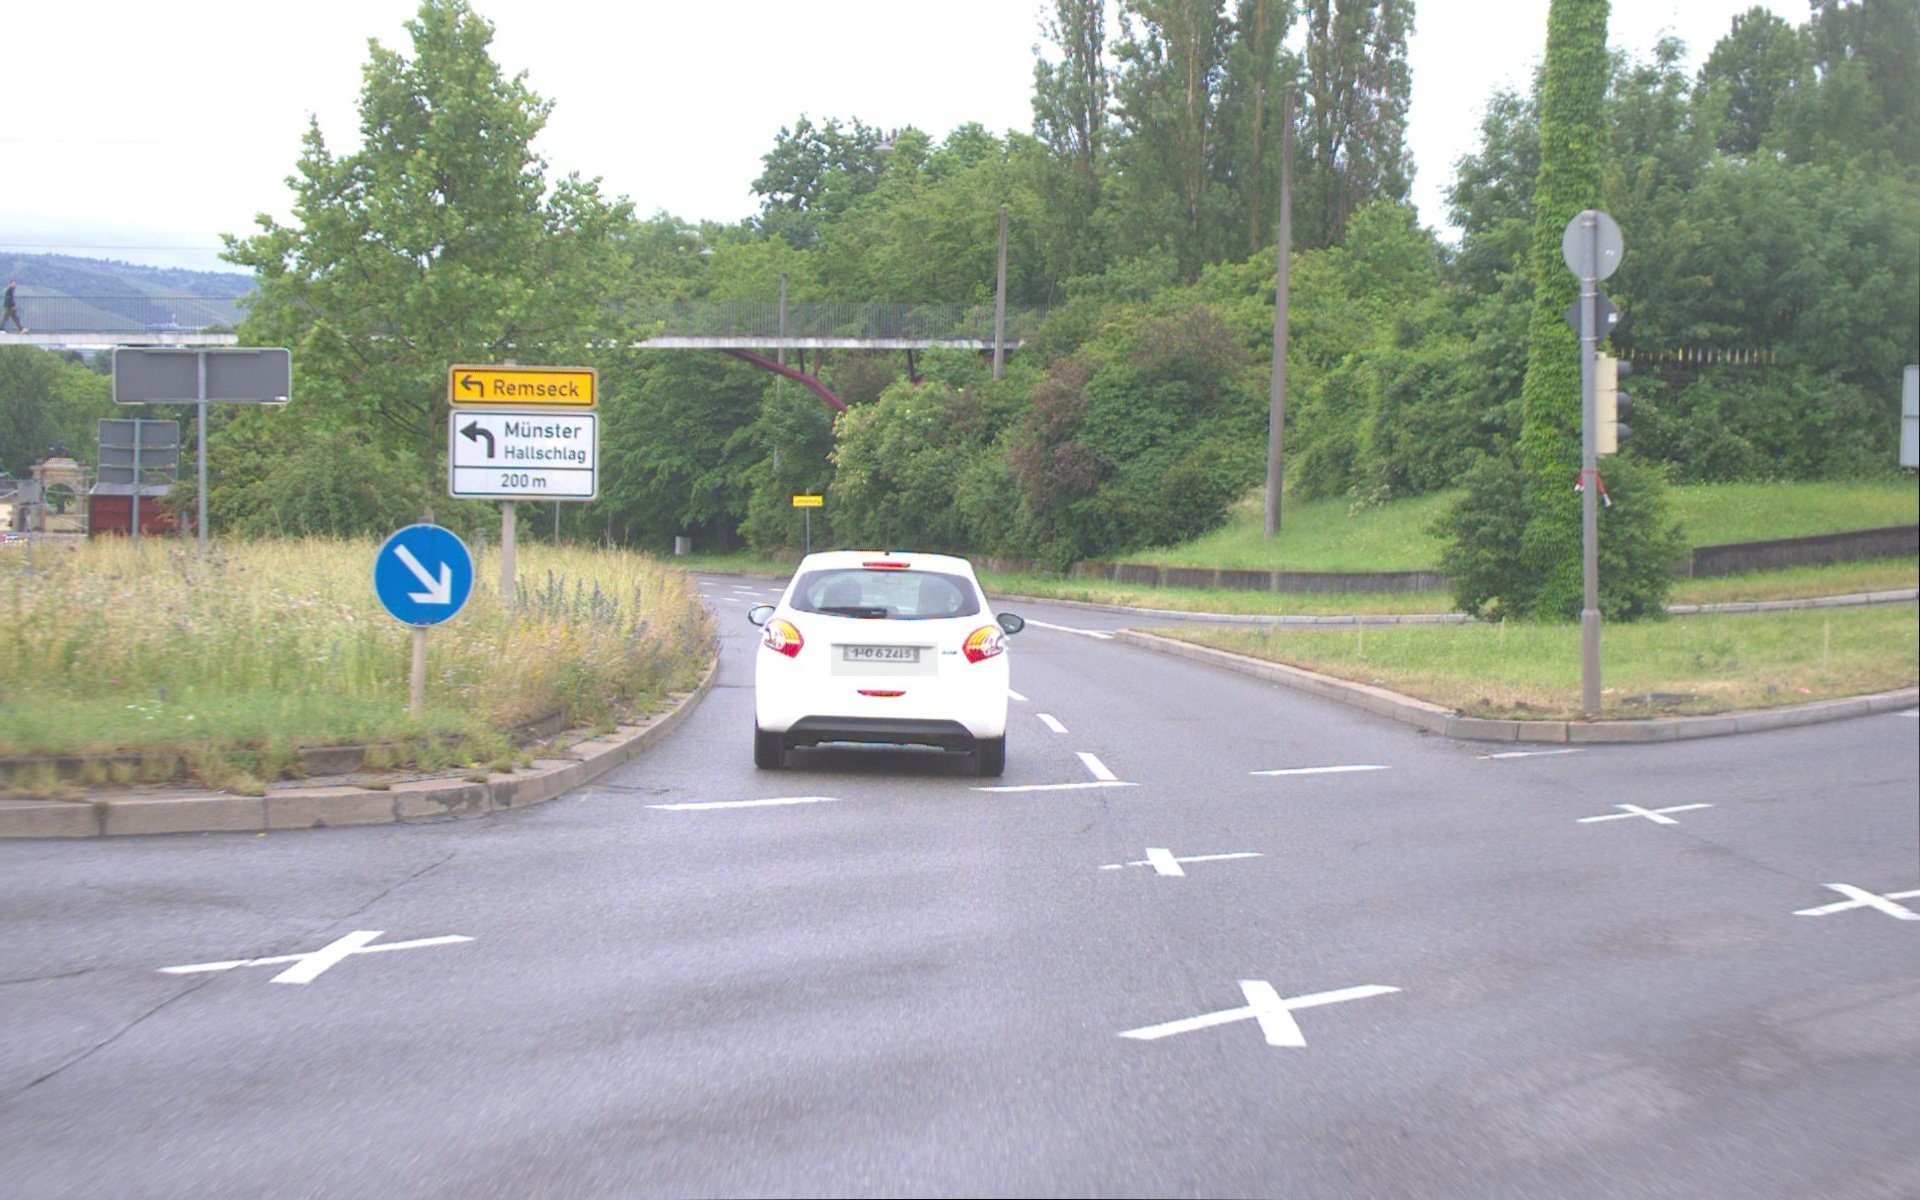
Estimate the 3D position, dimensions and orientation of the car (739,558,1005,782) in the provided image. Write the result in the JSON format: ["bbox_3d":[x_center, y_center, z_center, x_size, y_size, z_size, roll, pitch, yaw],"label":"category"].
[{"bbox_3d":[-0.592,0.443,23.951,1.708,1.435,3.690,0,0,-1],"label":"car"}]
